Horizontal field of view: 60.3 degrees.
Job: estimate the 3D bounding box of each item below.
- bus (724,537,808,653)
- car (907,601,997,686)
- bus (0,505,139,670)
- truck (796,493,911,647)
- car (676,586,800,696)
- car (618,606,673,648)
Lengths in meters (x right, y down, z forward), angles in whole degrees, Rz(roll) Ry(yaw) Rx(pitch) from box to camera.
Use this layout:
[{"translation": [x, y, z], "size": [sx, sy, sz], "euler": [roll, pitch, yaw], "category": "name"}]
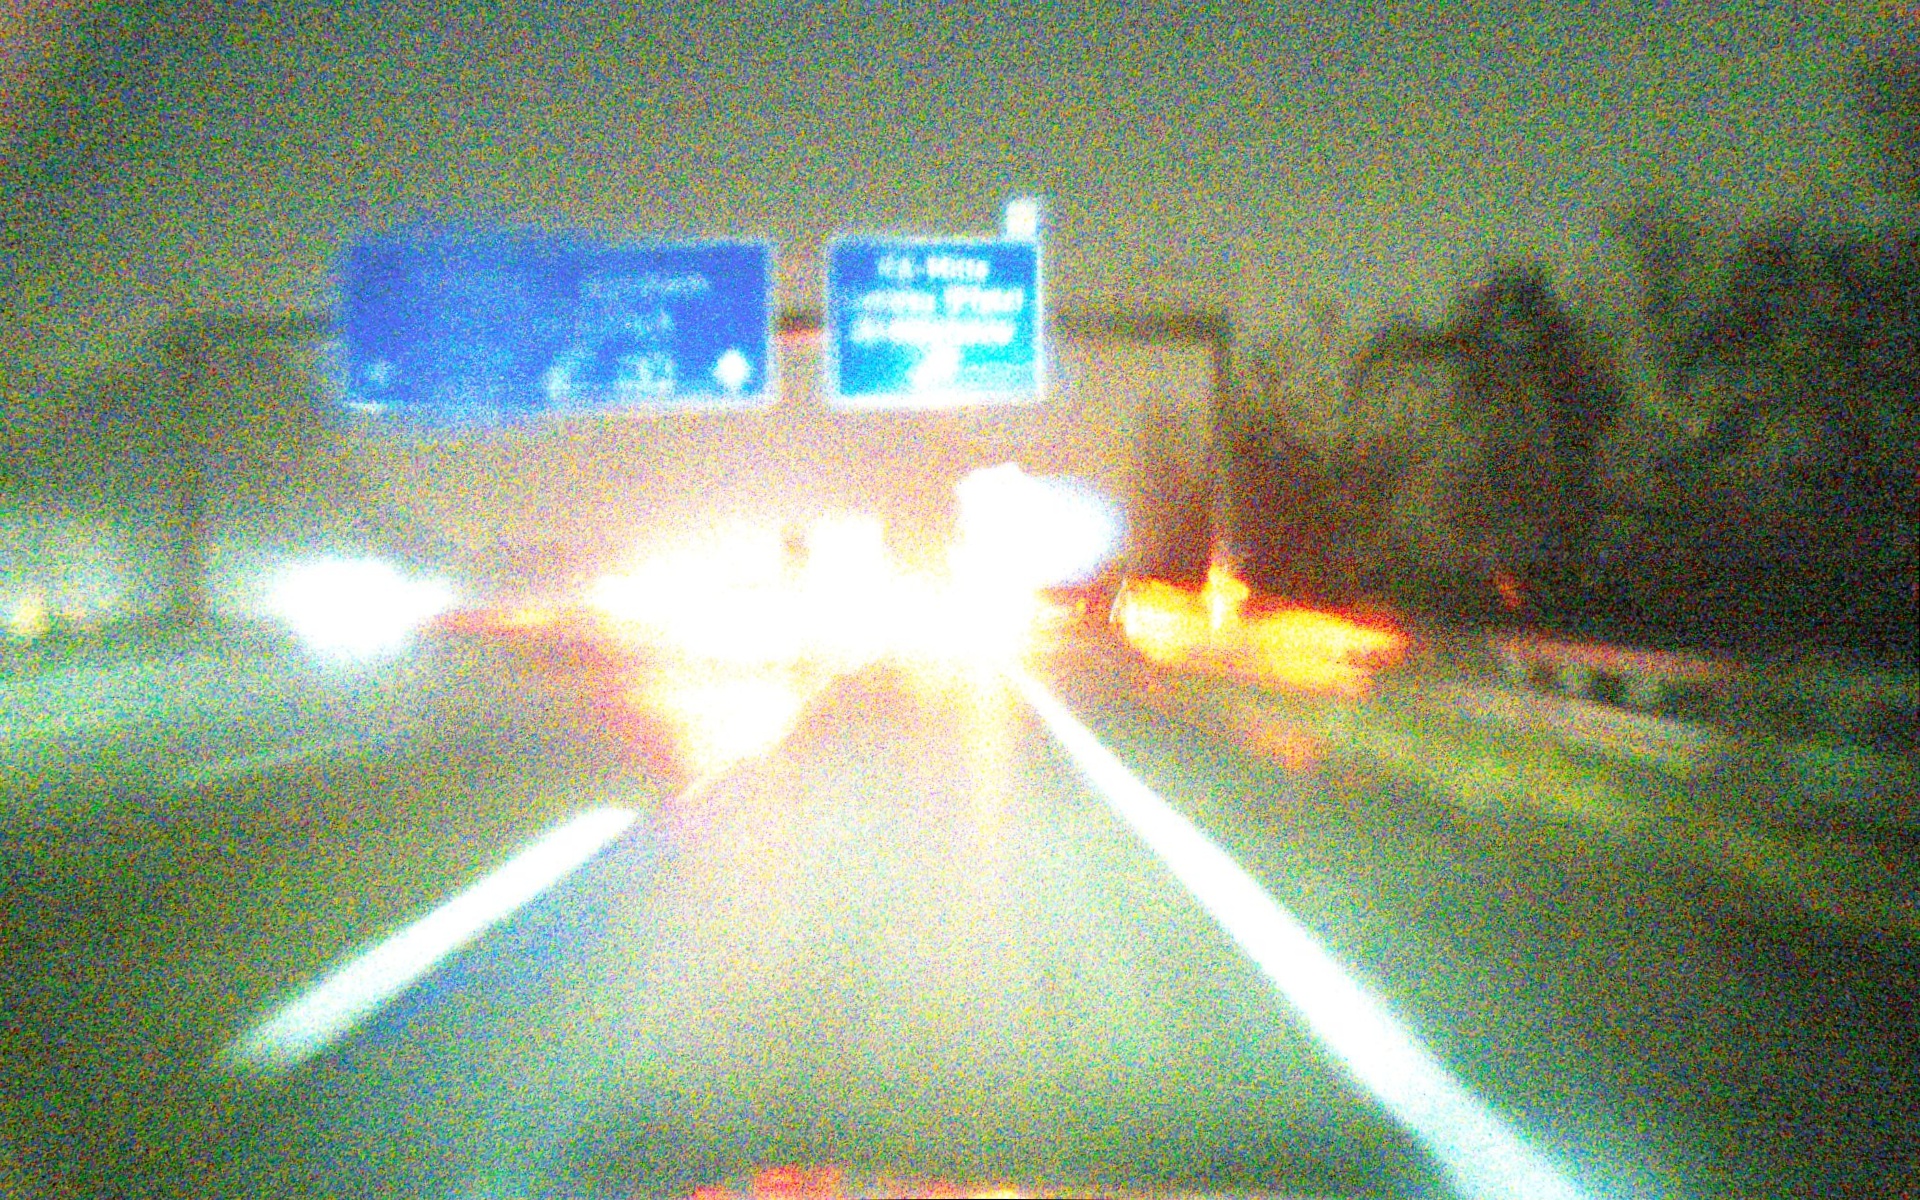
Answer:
[{"translation": [-8.308, -0.179, 71.994], "size": [3.036, 4.587, 10.903], "euler": [1, 0, -4], "category": "bus"}, {"translation": [-0.195, 0.967, 38.389], "size": [1.953, 1.839, 3.999], "euler": [1, 0, -1], "category": "car"}, {"translation": [-28.082, -0.384, 45.110], "size": [3.012, 4.568, 17.009], "euler": [1, 0, -1], "category": "bus"}, {"translation": [-4.200, -1.114, 68.187], "size": [4.125, 5.747, 11.464], "euler": [1, 0, -1], "category": "truck"}, {"translation": [-4.457, 0.786, 33.845], "size": [2.083, 2.049, 4.643], "euler": [1, 0, -3], "category": "car"}, {"translation": [-12.963, 1.098, 68.413], "size": [1.956, 1.624, 3.994], "euler": [1, 0, -7], "category": "car"}]
